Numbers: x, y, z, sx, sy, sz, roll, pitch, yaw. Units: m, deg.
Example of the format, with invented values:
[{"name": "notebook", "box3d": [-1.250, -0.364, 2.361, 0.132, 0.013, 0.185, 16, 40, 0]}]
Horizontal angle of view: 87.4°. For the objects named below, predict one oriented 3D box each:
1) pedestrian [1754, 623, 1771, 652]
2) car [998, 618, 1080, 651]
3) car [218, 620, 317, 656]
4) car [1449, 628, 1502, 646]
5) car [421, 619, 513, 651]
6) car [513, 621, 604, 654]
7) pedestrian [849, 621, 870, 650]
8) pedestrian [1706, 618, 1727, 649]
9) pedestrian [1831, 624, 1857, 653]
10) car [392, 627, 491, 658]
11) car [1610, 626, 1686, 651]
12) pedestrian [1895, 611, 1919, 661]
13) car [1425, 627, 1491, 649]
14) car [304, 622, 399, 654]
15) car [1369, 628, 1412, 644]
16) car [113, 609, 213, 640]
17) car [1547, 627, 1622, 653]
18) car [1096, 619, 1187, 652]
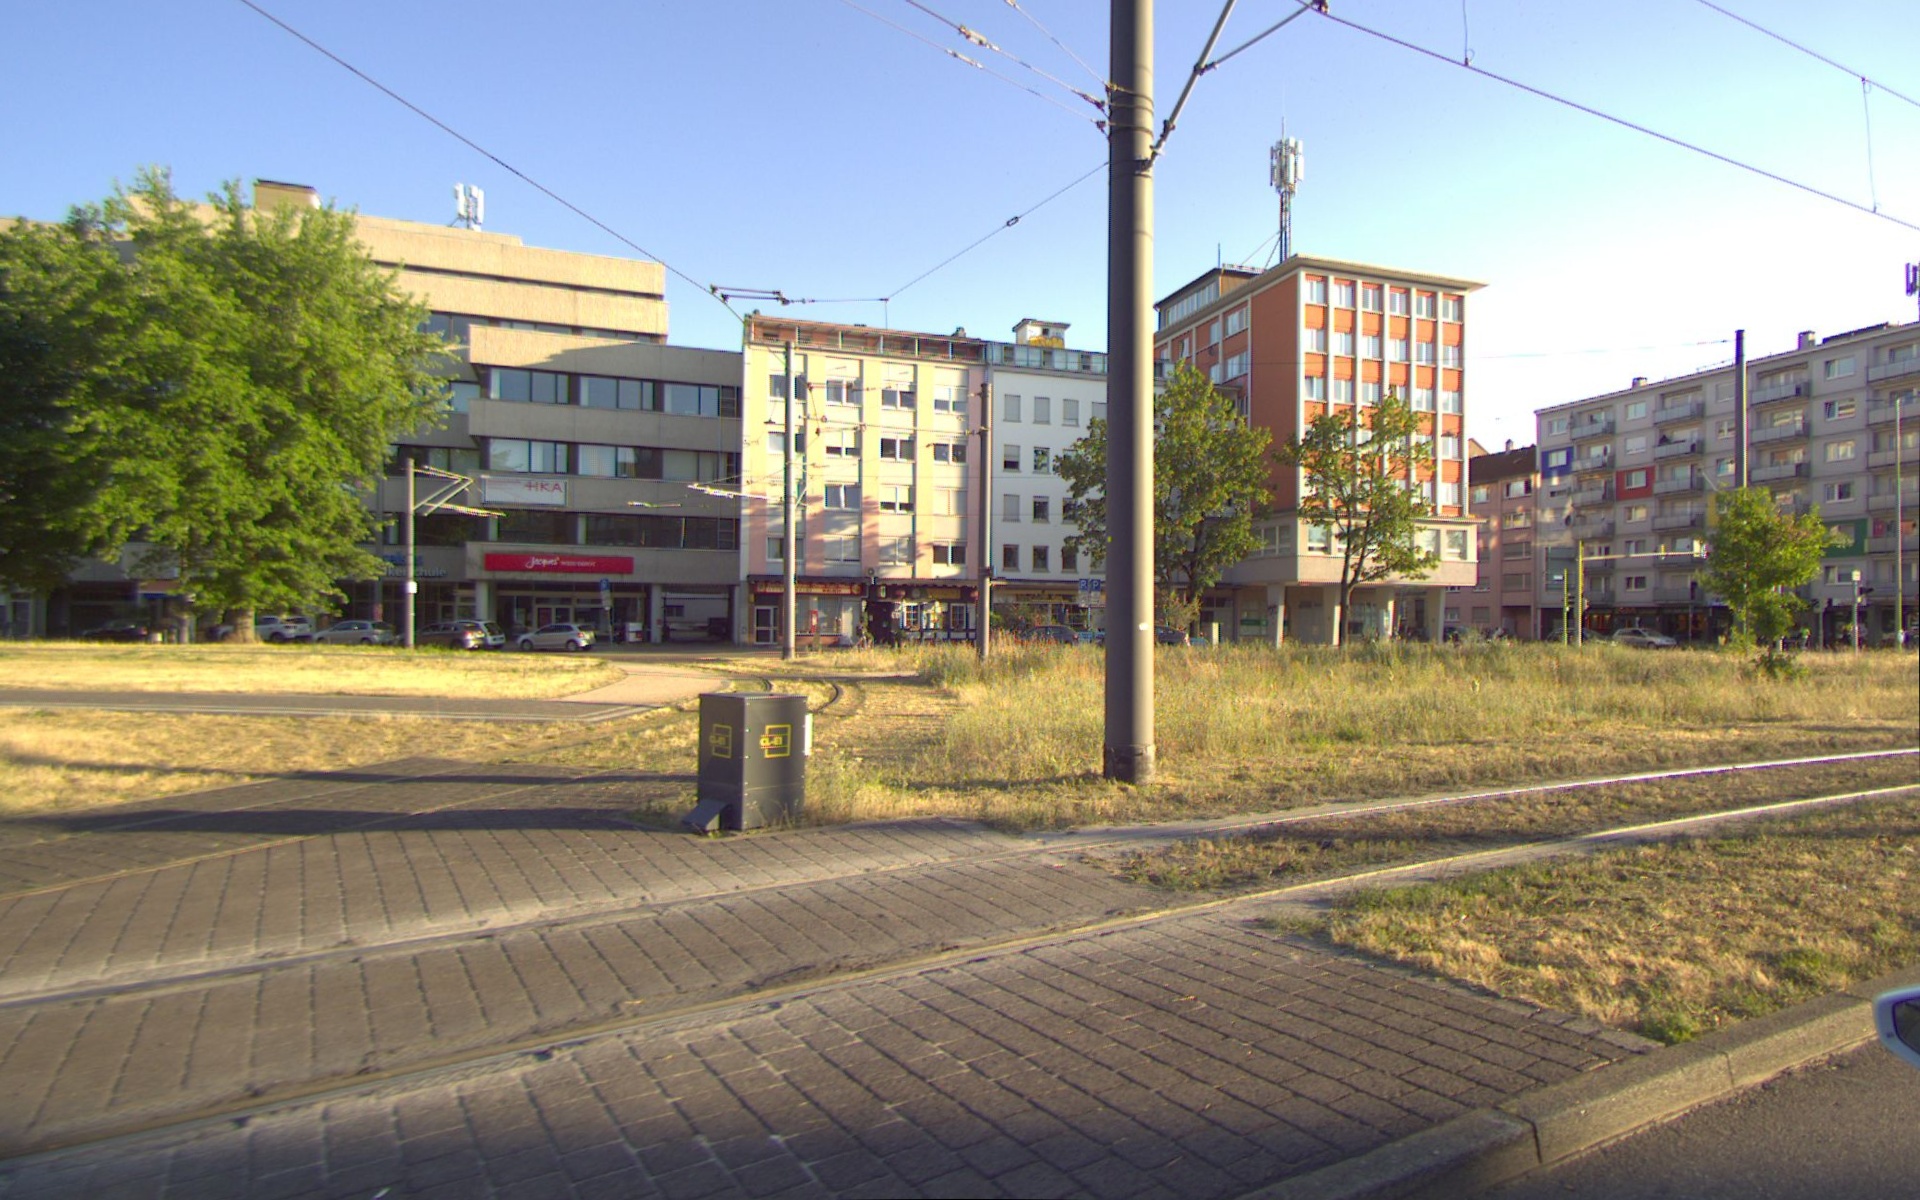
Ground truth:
[{"name": "pedestrian", "box3d": [47.029, 2.183, 58.833, 0.605, 1.651, 0.514, -1, -1, -18]}, {"name": "car", "box3d": [3.892, 1.679, 49.712, 3.919, 1.547, 1.761, -1, -1, 4]}, {"name": "car", "box3d": [-36.639, 1.993, 53.181, 4.124, 1.818, 1.761, -1, -1, 4]}, {"name": "car", "box3d": [48.147, 3.430, 93.931, 1.778, 1.606, 4.276, 0, -1, -23]}, {"name": "car", "box3d": [-25.497, 1.780, 52.046, 3.919, 1.572, 1.761, -1, -1, 4]}, {"name": "car", "box3d": [-20.523, 1.916, 51.382, 3.919, 1.572, 1.761, -1, -1, 7]}, {"name": "pedestrian", "box3d": [-5.435, 1.912, 54.419, 0.840, 1.548, 1.116, -1, -1, -21]}, {"name": "pedestrian", "box3d": [46.231, 2.033, 61.384, 0.725, 1.876, 0.704, -1, -1, -18]}, {"name": "pedestrian", "box3d": [51.043, 2.221, 58.004, 0.768, 1.692, 0.740, -1, -1, -6]}, {"name": "car", "box3d": [-25.009, 2.047, 48.513, 3.919, 1.408, 1.712, -1, -1, 5]}, {"name": "car", "box3d": [46.203, 2.545, 67.547, 1.778, 1.606, 3.856, 0, -1, -23]}, {"name": "pedestrian", "box3d": [34.789, 1.315, 36.633, 0.637, 1.786, 0.722, -1, -1, 3]}, {"name": "car", "box3d": [37.574, 2.825, 75.874, 1.961, 1.606, 4.270, 0, -1, -23]}, {"name": "car", "box3d": [-31.636, 1.961, 52.272, 3.919, 1.572, 1.761, -1, -1, 4]}, {"name": "car", "box3d": [43.808, 3.659, 102.248, 1.778, 1.606, 3.856, 0, -1, -23]}, {"name": "car", "box3d": [-42.824, 1.312, 54.048, 3.986, 1.577, 1.867, -1, -1, 4]}, {"name": "car", "box3d": [40.658, 2.570, 65.505, 1.778, 1.606, 3.856, 0, -1, -23]}, {"name": "car", "box3d": [8.828, 1.736, 49.161, 4.205, 1.547, 1.761, -1, -1, 4]}]
